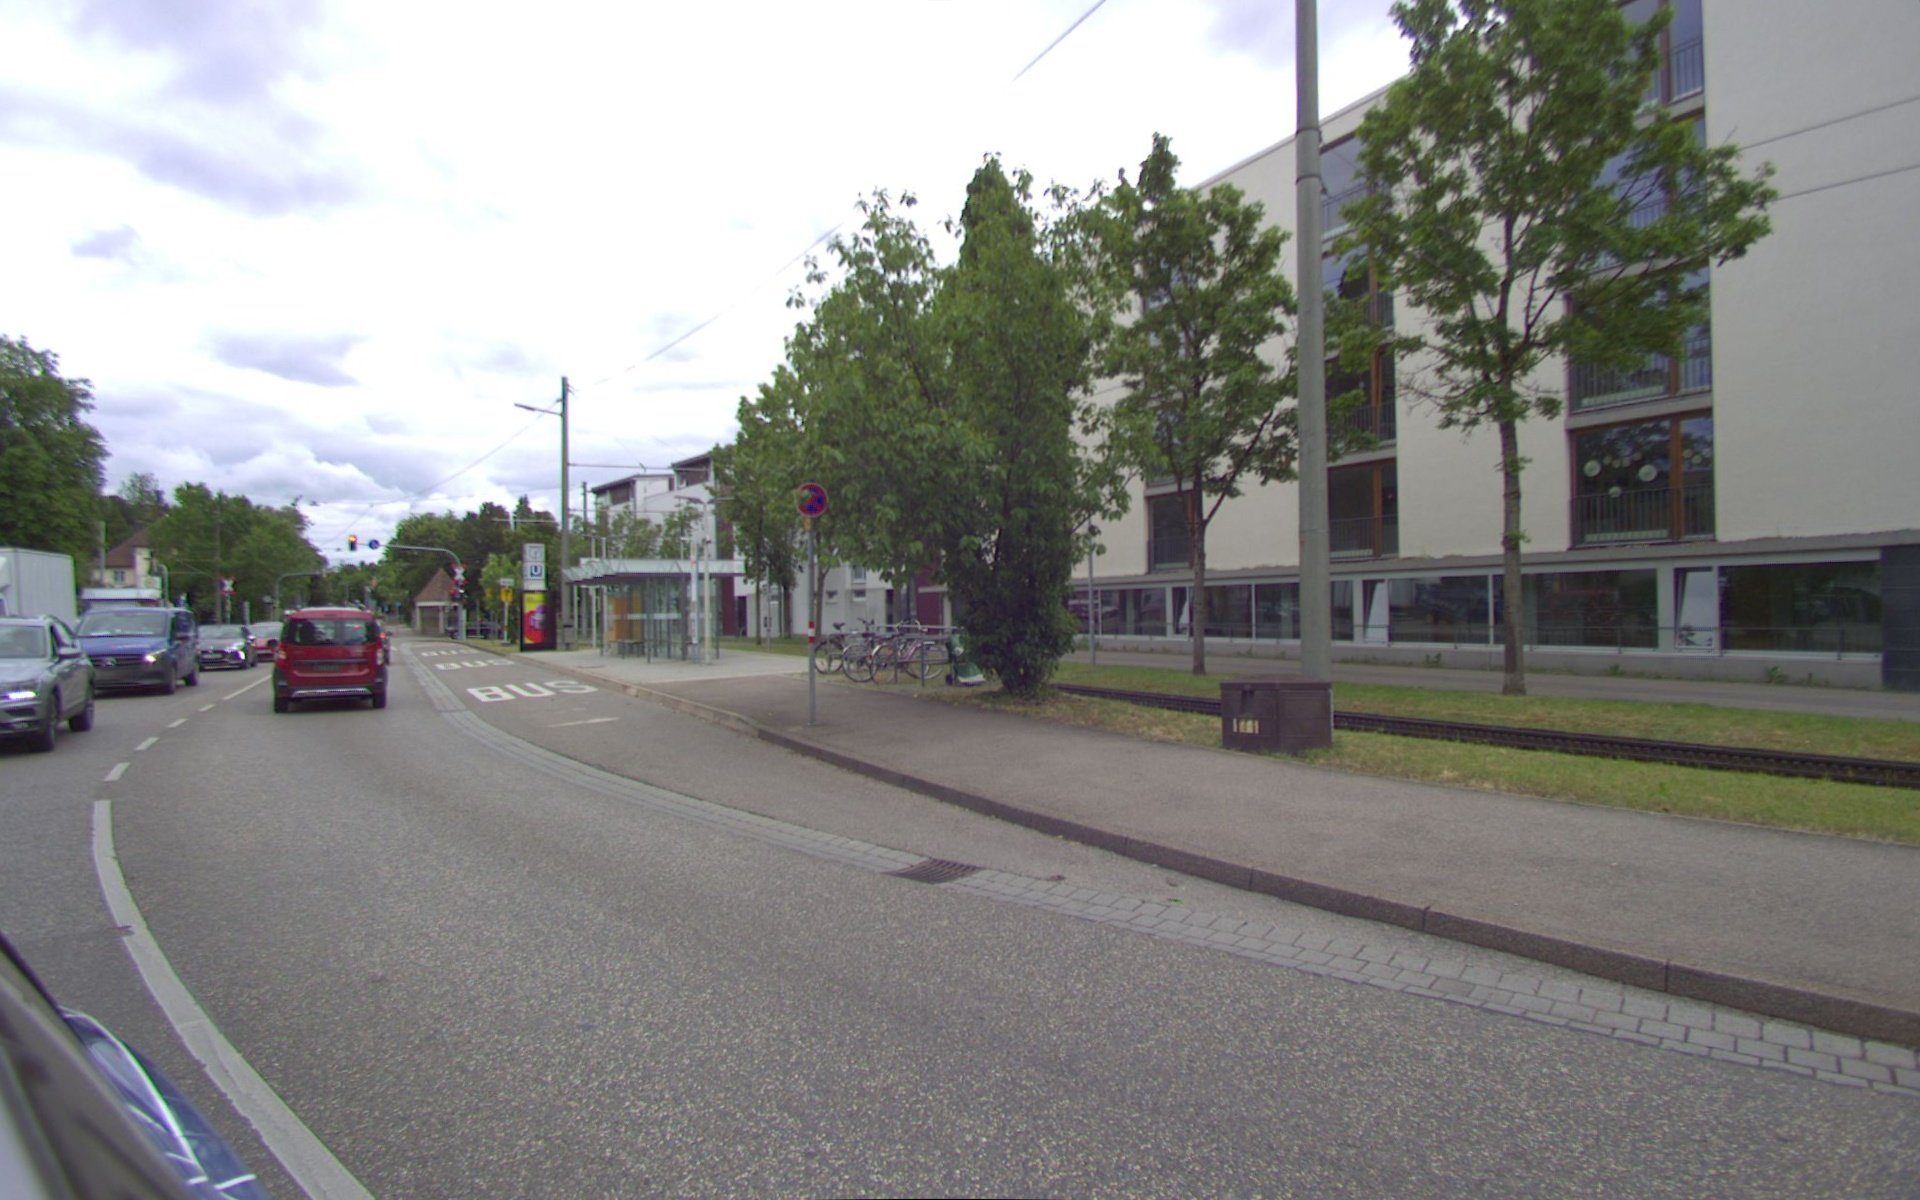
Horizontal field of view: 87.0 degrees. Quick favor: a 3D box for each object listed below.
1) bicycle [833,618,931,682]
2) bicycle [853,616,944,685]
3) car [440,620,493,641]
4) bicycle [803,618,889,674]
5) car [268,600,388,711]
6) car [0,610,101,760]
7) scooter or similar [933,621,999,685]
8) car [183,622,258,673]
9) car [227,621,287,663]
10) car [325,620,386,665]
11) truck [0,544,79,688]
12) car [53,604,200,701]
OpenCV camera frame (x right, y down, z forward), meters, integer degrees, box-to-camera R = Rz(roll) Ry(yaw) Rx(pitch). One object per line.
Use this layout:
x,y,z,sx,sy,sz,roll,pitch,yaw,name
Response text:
-1.406,0.891,18.423,1.724,1.054,0.409,-3,0,-29,bicycle
-1.063,0.867,17.847,1.684,1.097,0.408,-3,0,-43,bicycle
-43.420,2.691,89.036,3.933,1.719,1.934,-1,-1,-33,car
-2.293,0.917,20.465,1.663,1.032,0.397,-3,0,-29,bicycle
-11.917,0.988,18.958,1.658,1.822,4.363,2,-2,-35,car
-12.373,0.995,12.756,1.782,1.660,4.342,-1,-1,-33,car
0.091,0.871,16.885,0.777,1.017,0.775,0,-1,-38,scooter or similar
-24.039,1.503,33.007,1.820,1.546,4.010,0,-1,-34,car
-27.261,1.599,39.292,1.820,1.546,4.010,0,-1,-34,car
-21.512,1.483,36.027,1.743,1.490,4.012,1,-2,-31,car
-25.693,0.419,26.434,2.499,3.452,7.800,-1,0,-30,truck
-18.046,1.072,22.108,1.819,1.875,4.012,-1,-1,-30,car
